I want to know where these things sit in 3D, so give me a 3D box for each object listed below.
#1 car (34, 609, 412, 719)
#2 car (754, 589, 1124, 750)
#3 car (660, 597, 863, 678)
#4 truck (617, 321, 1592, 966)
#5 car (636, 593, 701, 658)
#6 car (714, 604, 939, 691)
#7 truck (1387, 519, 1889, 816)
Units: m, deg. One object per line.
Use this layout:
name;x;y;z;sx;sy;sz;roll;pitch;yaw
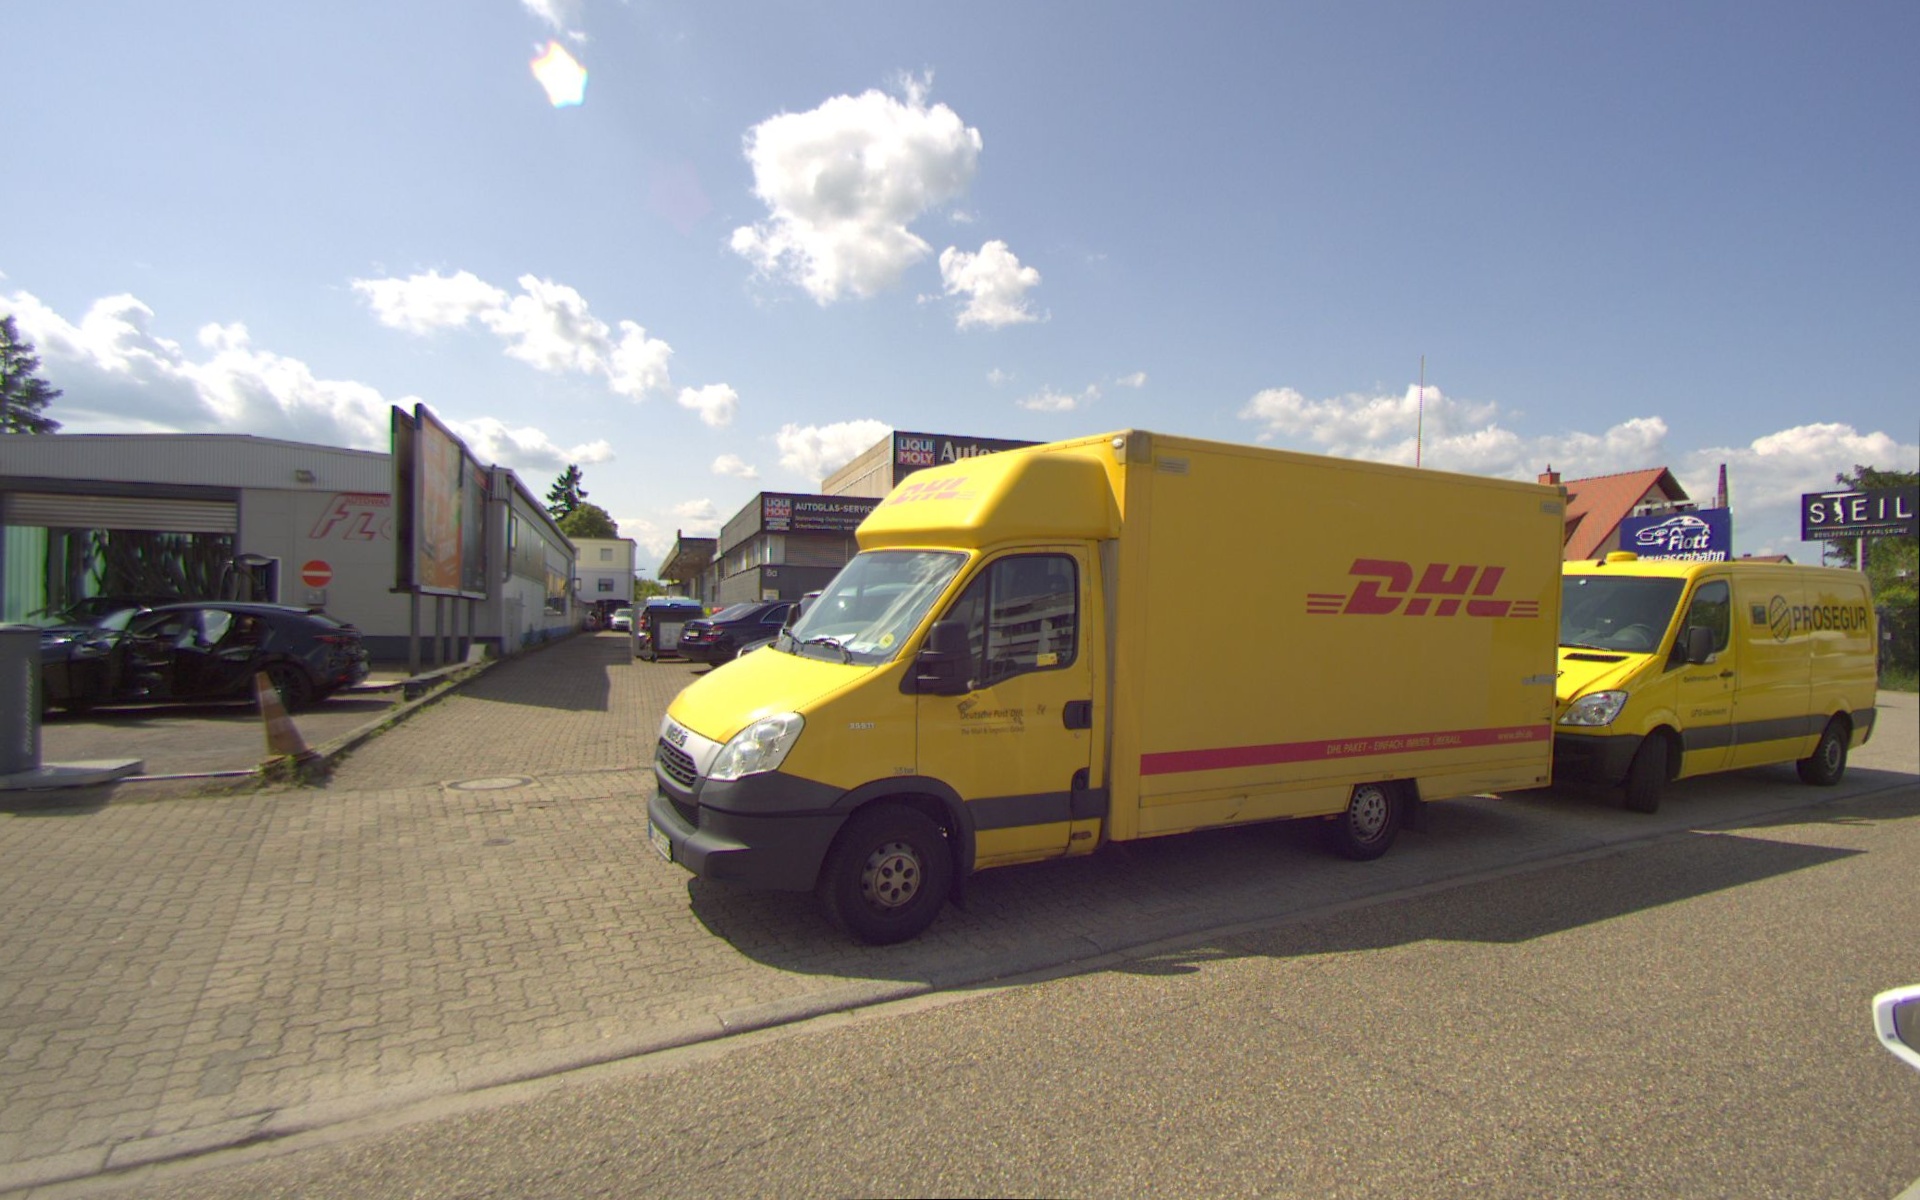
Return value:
car;-9.674;0.777;13.571;3.692;1.307;1.890;0;0;-20
car;-0.124;0.811;12.959;4.669;1.728;1.813;2;-1;-40
car;-4.096;0.714;21.216;1.841;1.391;3.983;3;3;38
truck;1.400;0.270;7.212;6.984;2.895;2.210;2;1;-30
car;-7.917;0.671;27.216;1.537;1.613;3.504;1;-1;-17
car;-2.420;0.815;18.883;3.980;1.305;1.654;-3;2;-44
truck;7.343;0.636;10.640;5.992;2.445;1.984;2;-1;-30
